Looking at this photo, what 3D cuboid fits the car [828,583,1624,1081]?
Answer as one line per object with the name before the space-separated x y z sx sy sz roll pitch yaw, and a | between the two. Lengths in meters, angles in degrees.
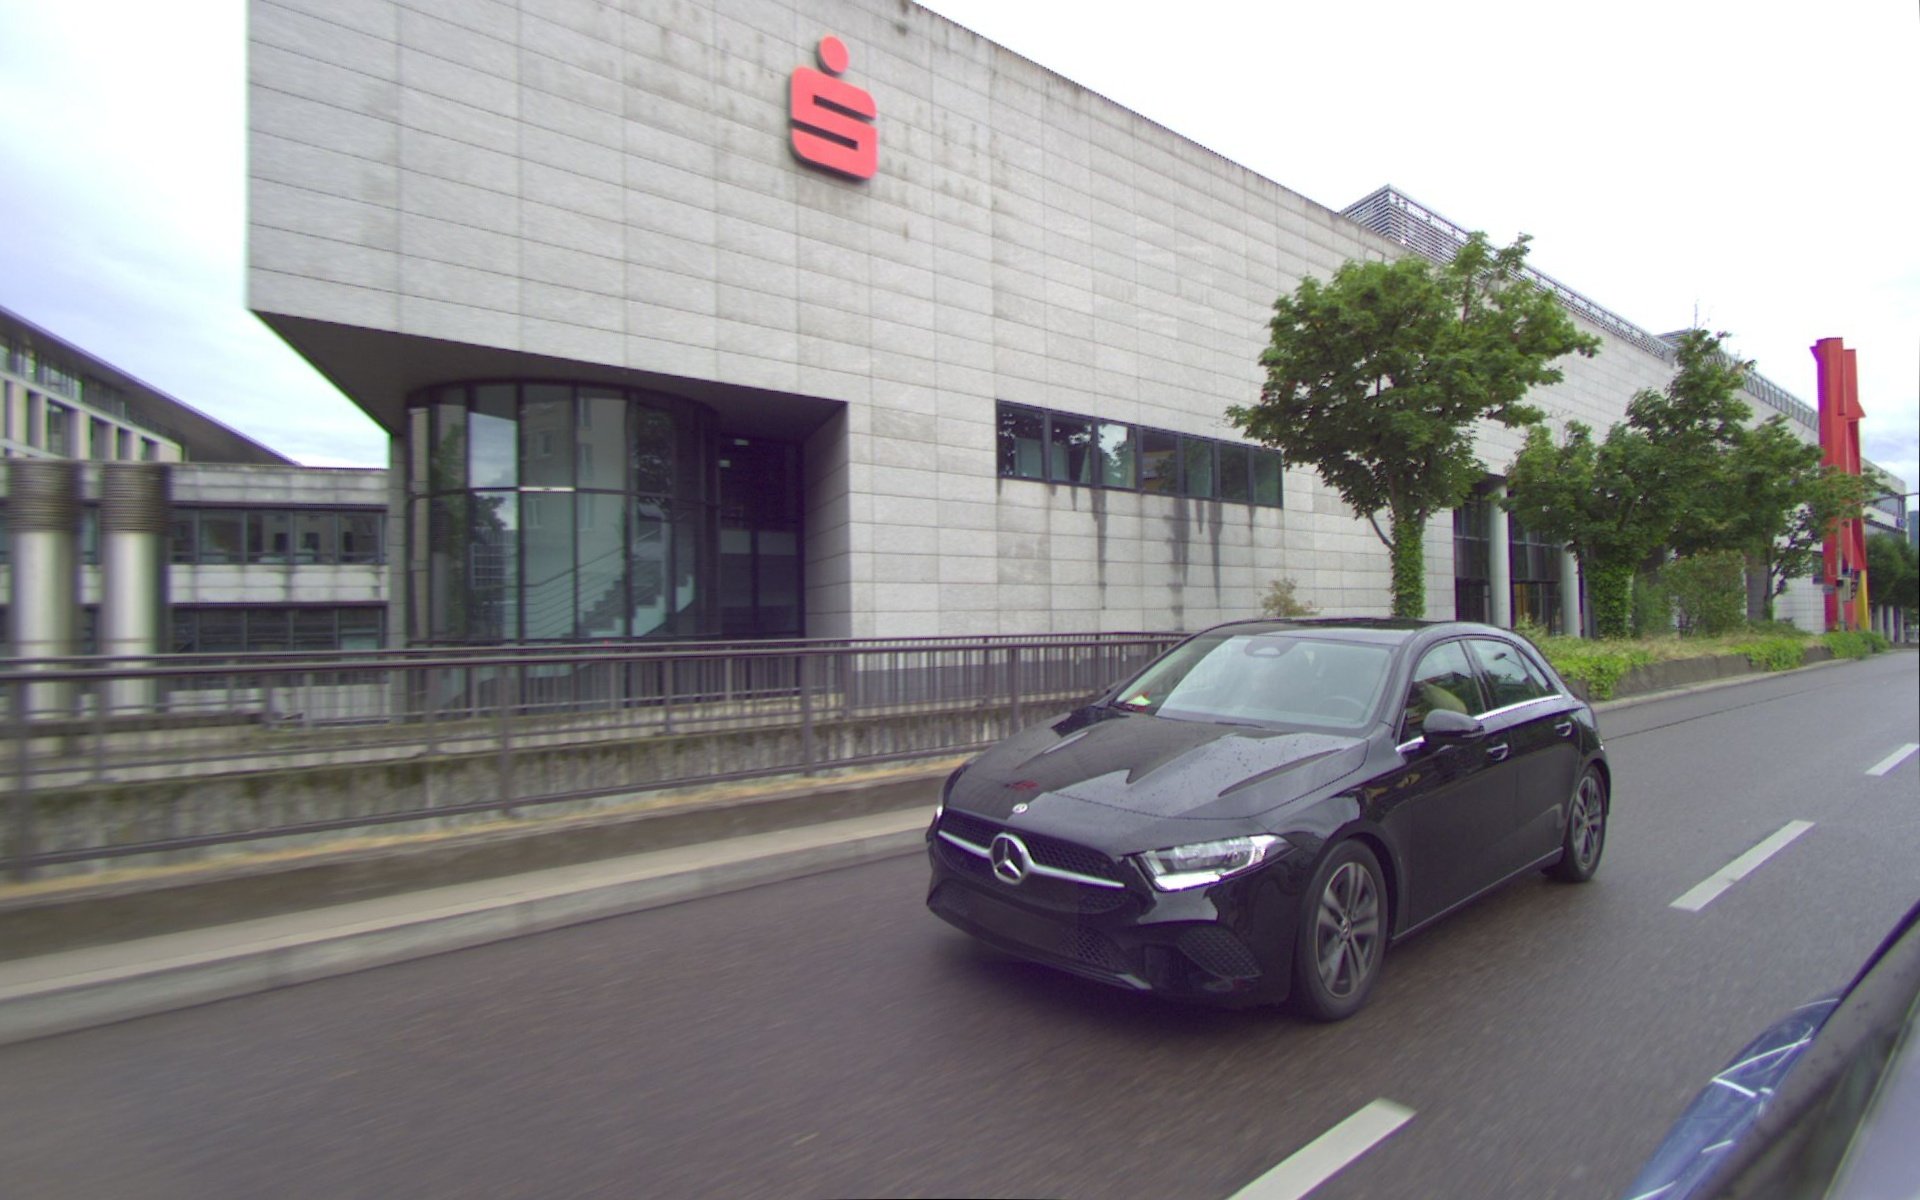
car | 1.588 0.707 5.056 4.132 1.455 1.875 1 -1 -41
